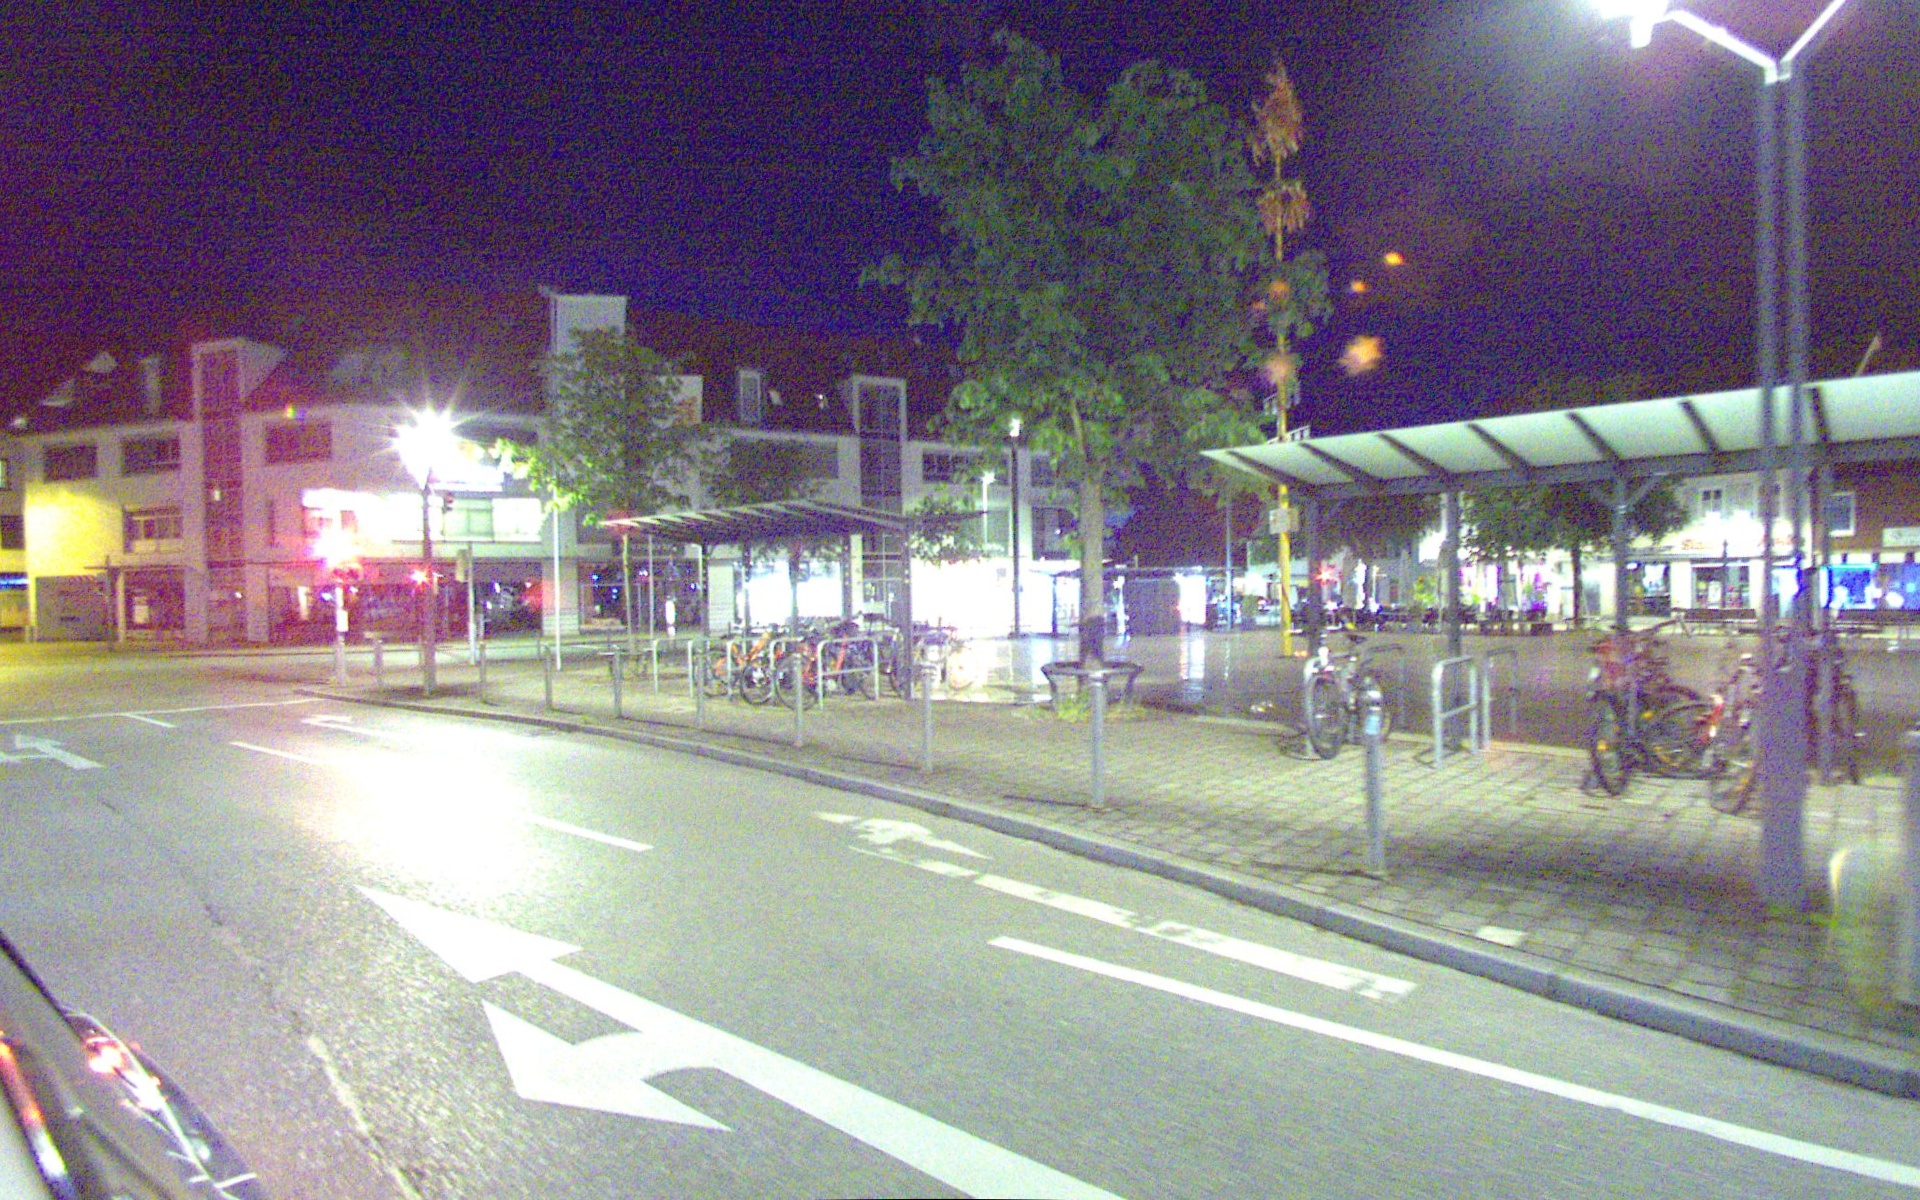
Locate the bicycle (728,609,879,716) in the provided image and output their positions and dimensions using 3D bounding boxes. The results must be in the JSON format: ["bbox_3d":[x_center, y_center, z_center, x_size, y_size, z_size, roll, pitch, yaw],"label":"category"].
[{"bbox_3d":[-1.977,0.755,12.932,1.715,1.175,0.787,-4,2,-45],"label":"bicycle"}]

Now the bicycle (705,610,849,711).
[{"bbox_3d":[-2.435,0.771,13.595,1.715,1.166,0.787,-4,3,-45],"label":"bicycle"}]

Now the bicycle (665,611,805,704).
[{"bbox_3d":[-3.263,0.799,14.805,1.813,1.166,0.787,-4,3,-45],"label":"bicycle"}]

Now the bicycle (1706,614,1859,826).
[{"bbox_3d":[5.164,0.667,6.358,0.670,1.114,1.600,-1,1,40],"label":"bicycle"}]

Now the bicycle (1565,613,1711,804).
[{"bbox_3d":[4.703,0.669,6.979,0.670,1.114,1.599,0,1,40],"label":"bicycle"}]

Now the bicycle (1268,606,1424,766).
[{"bbox_3d":[3.270,0.655,8.486,0.670,1.173,1.751,-1,0,40],"label":"bicycle"}]
